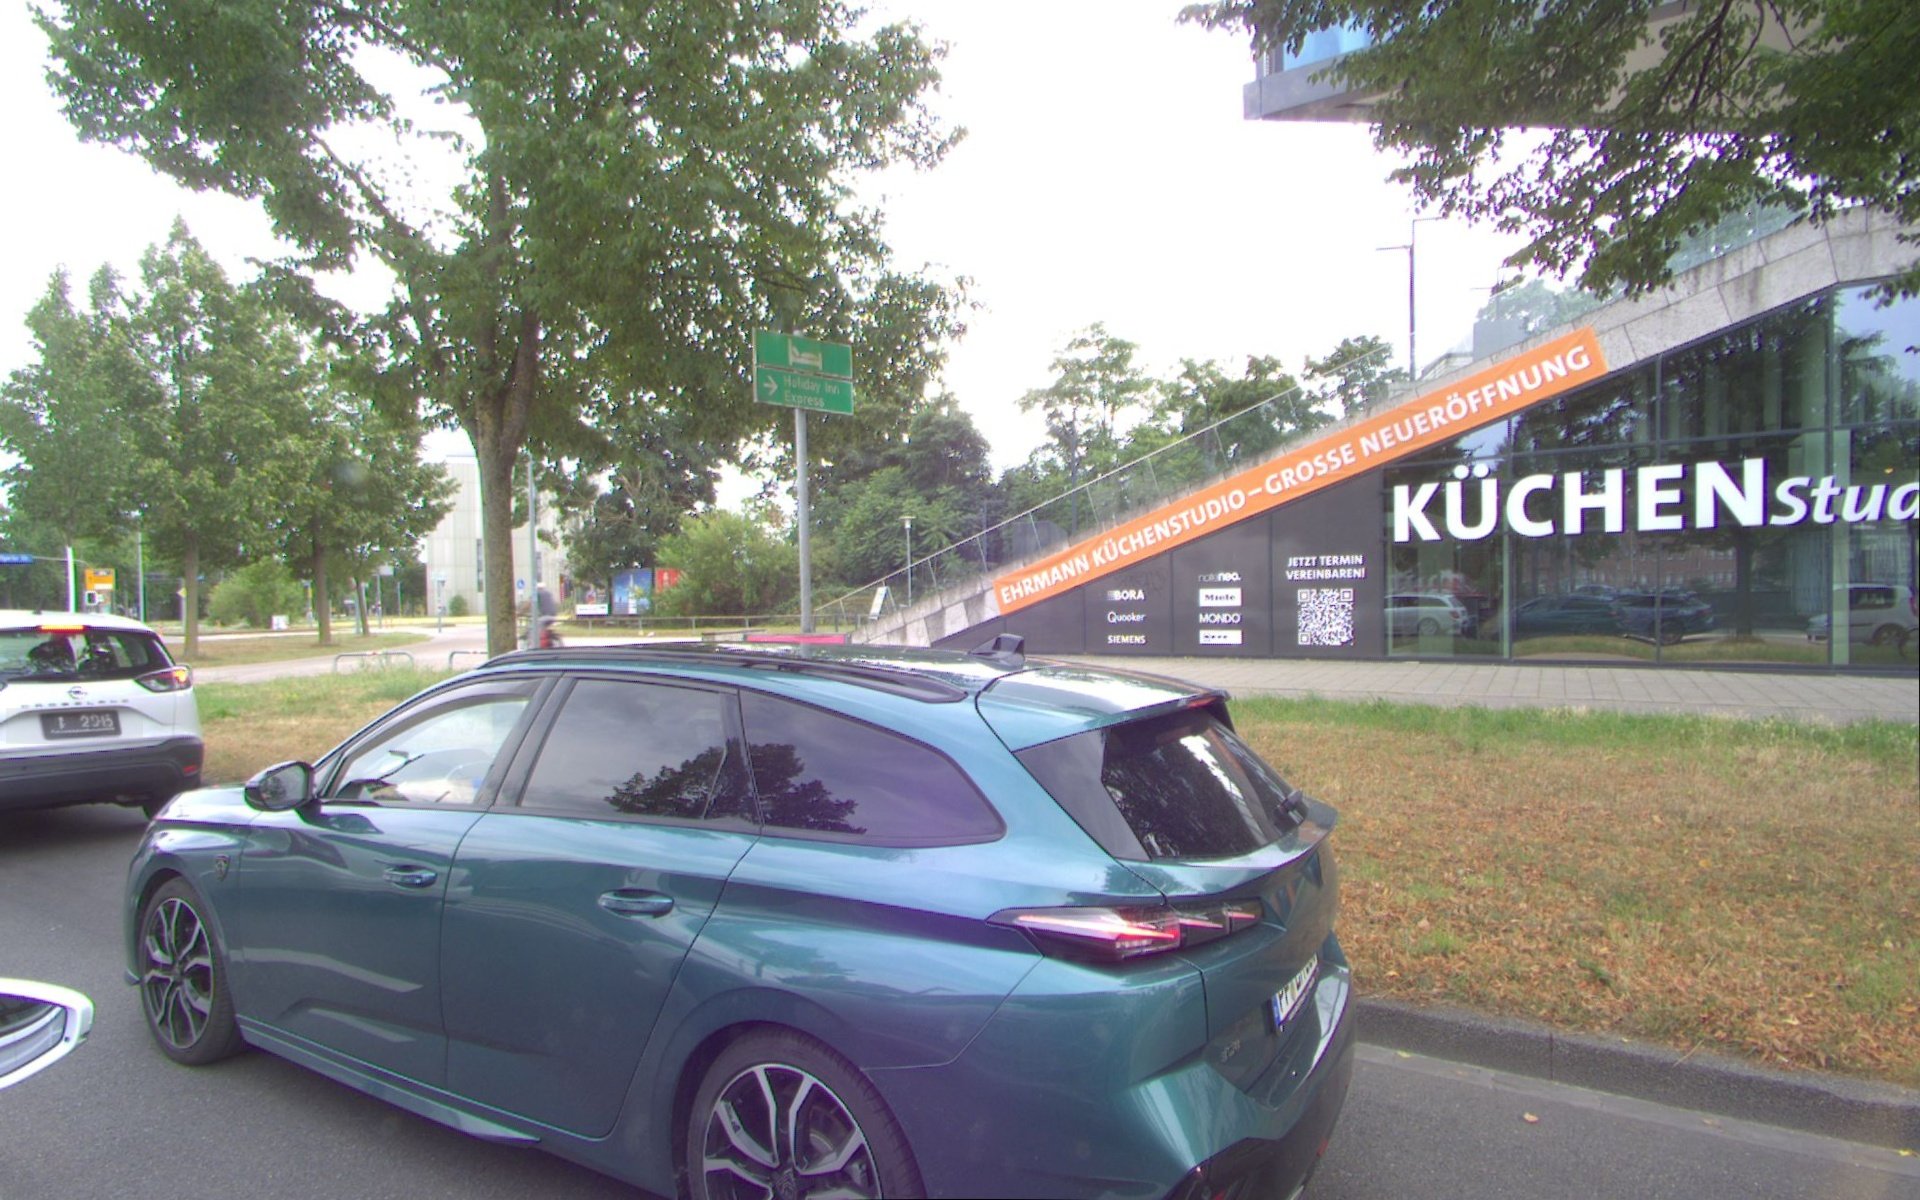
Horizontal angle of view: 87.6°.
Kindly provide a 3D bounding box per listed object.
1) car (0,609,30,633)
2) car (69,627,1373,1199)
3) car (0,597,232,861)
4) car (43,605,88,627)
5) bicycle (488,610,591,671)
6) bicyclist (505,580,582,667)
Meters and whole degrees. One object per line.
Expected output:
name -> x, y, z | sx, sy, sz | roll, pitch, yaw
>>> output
car -> -76.784, 1.694, 80.660 | 1.973, 1.813, 3.979 | 2, -3, -31
car -> -0.978, 0.840, 3.406 | 4.245, 1.450, 1.786 | 0, -1, 29
car -> -7.418, 0.818, 7.592 | 3.854, 1.646, 1.783 | 0, 0, 33
car -> -68.802, 1.225, 77.091 | 1.764, 1.658, 4.377 | -1, 0, -31
bicycle -> -9.074, 0.838, 21.585 | 2.234, 1.251, 0.900 | 0, 0, 31
bicyclist -> -8.918, 0.487, 21.456 | 1.113, 1.761, 0.994 | 0, 3, 31
